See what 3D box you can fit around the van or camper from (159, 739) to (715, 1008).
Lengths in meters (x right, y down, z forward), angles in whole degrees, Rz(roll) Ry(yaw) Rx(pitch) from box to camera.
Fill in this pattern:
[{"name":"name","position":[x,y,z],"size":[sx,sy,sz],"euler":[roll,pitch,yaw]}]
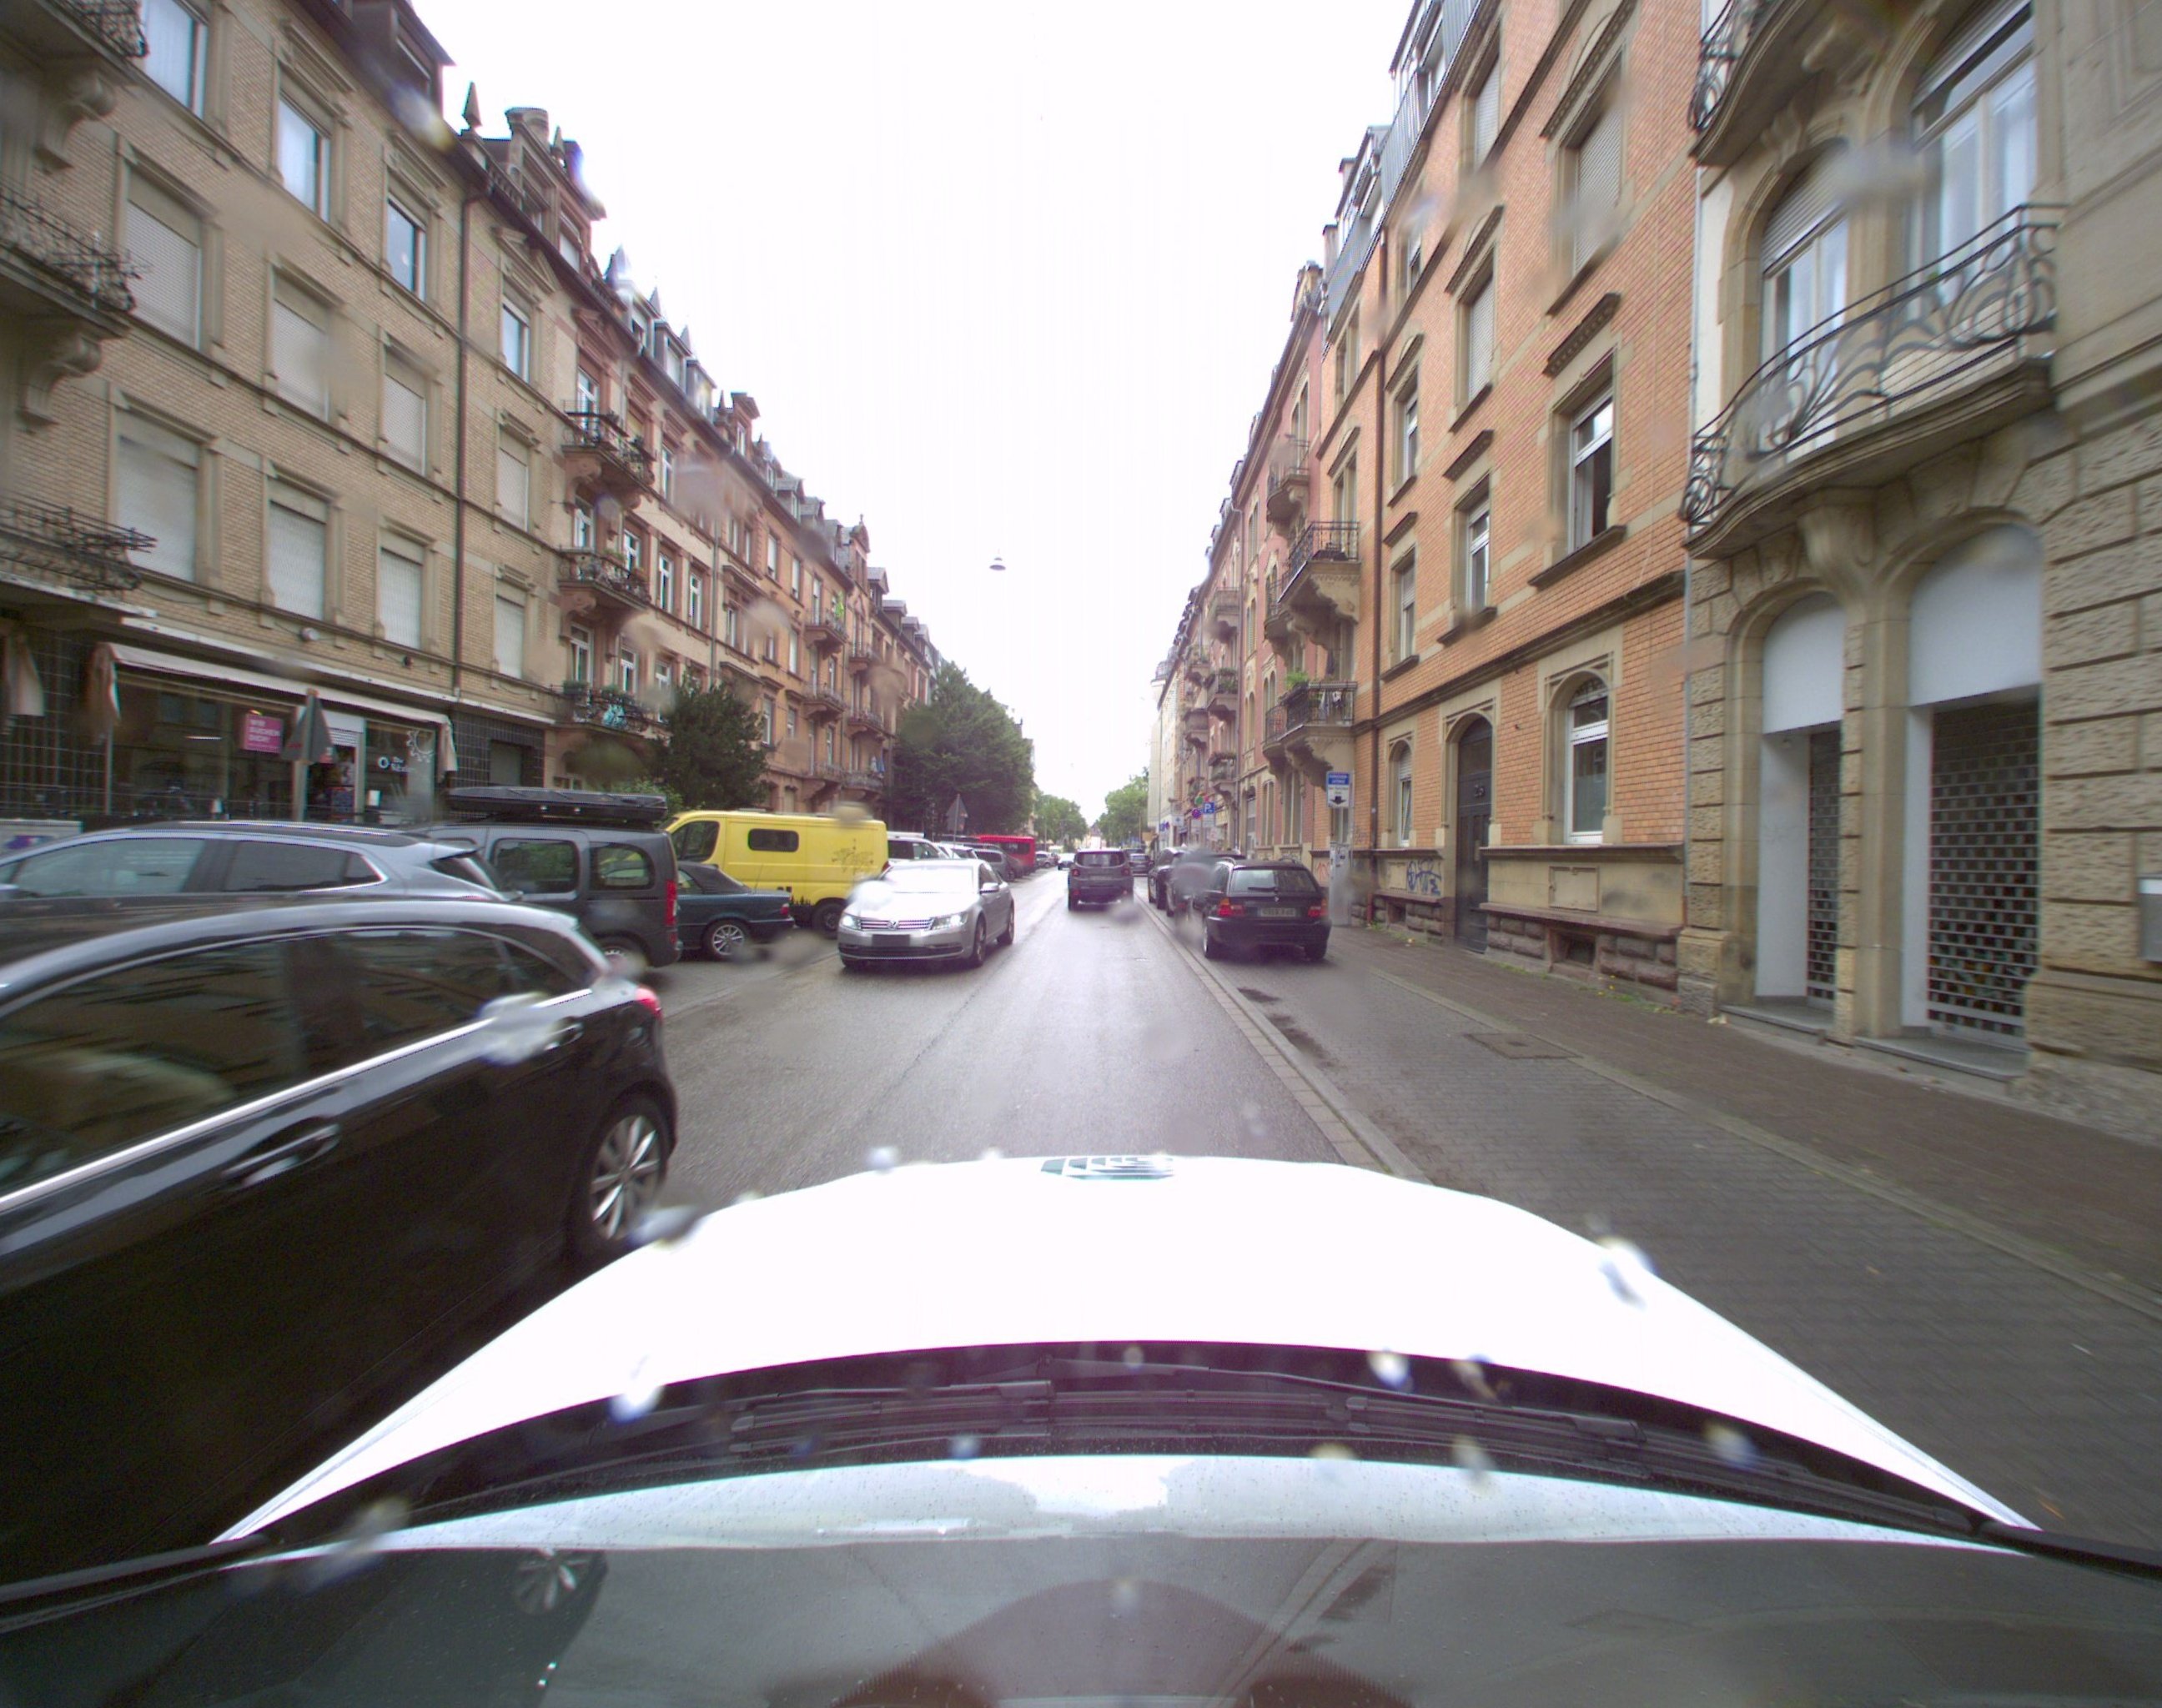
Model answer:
[{"name":"van or camper","position":[-6.315,0.271,8.666],"size":[4.097,2.240,1.918],"euler":[4,-2,-31]}]

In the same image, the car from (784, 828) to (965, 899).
[{"name":"car","position":[-6.459,0.335,25.607],"size":[5.259,2.078,1.856],"euler":[1,-1,-24]}]

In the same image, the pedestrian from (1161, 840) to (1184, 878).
[{"name":"pedestrian","position":[5.150,0.273,45.853],"size":[0.672,1.937,0.814],"euler":[-1,-22,36]}]

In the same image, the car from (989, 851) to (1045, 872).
[{"name":"car","position":[-4.870,0.556,62.326],"size":[3.998,1.447,1.747],"euler":[2,0,-39]}]

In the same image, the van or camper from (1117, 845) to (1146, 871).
[{"name":"van or camper","position":[3.886,0.296,62.988],"size":[2.014,1.891,5.055],"euler":[-1,0,1]}]

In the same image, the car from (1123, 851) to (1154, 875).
[{"name":"car","position":[3.740,0.573,53.547],"size":[1.835,1.545,4.003],"euler":[0,0,0]}]

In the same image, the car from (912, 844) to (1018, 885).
[{"name":"car","position":[-5.356,0.508,37.673],"size":[4.452,1.630,1.829],"euler":[3,0,-25]}]

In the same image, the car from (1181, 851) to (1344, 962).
[{"name":"car","position":[2.690,0.722,13.087],"size":[1.780,1.466,4.485],"euler":[1,-1,2]}]

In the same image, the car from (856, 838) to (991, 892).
[{"name":"car","position":[-5.973,0.402,31.452],"size":[4.563,1.785,2.545],"euler":[3,0,0]}]

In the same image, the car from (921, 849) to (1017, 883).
[{"name":"car","position":[-5.501,0.592,40.126],"size":[4.359,1.504,1.743],"euler":[2,0,-22]}]

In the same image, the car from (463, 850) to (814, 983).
[{"name":"car","position":[-6.029,0.733,11.450],"size":[4.013,1.495,1.809],"euler":[-1,1,-31]}]

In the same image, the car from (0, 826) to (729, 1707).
[{"name":"car","position":[-2.564,0.735,1.723],"size":[1.789,1.494,4.138],"euler":[-1,-2,1]}]

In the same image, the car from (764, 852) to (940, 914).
[{"name":"car","position":[-5.786,0.709,20.625],"size":[4.009,1.436,1.768],"euler":[1,0,-28]}]

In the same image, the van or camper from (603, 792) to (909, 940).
[{"name":"van or camper","position":[-5.798,0.247,14.678],"size":[4.742,2.268,2.164],"euler":[3,0,-32]}]

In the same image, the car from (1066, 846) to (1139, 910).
[{"name":"car","position":[0.580,0.638,23.479],"size":[1.892,1.671,4.505],"euler":[0,0,0]}]

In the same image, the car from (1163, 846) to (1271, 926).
[{"name":"car","position":[2.912,0.627,18.314],"size":[1.864,1.561,4.347],"euler":[-1,0,2]}]

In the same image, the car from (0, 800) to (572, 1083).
[{"name":"car","position":[-6.262,0.554,5.941],"size":[4.155,1.662,1.782],"euler":[4,-2,-35]}]

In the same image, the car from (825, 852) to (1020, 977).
[{"name":"car","position":[-2.123,0.736,12.323],"size":[1.787,1.493,4.588],"euler":[0,1,4]}]

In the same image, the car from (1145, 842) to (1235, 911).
[{"name":"car","position":[3.003,0.579,23.443],"size":[1.987,1.779,4.826],"euler":[0,0,0]}]

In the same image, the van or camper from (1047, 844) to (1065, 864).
[{"name":"van or camper","position":[-3.462,0.081,115.795],"size":[2.114,2.531,6.875],"euler":[-3,-2,1]}]

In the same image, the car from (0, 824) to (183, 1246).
[{"name":"car","position":[-6.453,0.604,2.780],"size":[4.155,1.662,1.782],"euler":[4,-2,-35]}]

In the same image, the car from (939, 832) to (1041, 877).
[{"name":"car","position":[-5.413,0.063,48.379],"size":[5.584,2.541,2.210],"euler":[1,0,-27]}]

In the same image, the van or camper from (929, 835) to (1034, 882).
[{"name":"van or camper","position":[-5.280,0.238,43.098],"size":[5.033,2.349,2.325],"euler":[1,0,-25]}]

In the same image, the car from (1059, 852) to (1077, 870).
[{"name":"car","position":[-1.204,0.653,76.476],"size":[1.665,1.559,4.001],"euler":[1,0,-1]}]

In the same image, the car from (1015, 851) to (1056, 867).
[{"name":"car","position":[-4.402,0.485,79.128],"size":[3.729,1.452,1.668],"euler":[0,0,-34]}]
